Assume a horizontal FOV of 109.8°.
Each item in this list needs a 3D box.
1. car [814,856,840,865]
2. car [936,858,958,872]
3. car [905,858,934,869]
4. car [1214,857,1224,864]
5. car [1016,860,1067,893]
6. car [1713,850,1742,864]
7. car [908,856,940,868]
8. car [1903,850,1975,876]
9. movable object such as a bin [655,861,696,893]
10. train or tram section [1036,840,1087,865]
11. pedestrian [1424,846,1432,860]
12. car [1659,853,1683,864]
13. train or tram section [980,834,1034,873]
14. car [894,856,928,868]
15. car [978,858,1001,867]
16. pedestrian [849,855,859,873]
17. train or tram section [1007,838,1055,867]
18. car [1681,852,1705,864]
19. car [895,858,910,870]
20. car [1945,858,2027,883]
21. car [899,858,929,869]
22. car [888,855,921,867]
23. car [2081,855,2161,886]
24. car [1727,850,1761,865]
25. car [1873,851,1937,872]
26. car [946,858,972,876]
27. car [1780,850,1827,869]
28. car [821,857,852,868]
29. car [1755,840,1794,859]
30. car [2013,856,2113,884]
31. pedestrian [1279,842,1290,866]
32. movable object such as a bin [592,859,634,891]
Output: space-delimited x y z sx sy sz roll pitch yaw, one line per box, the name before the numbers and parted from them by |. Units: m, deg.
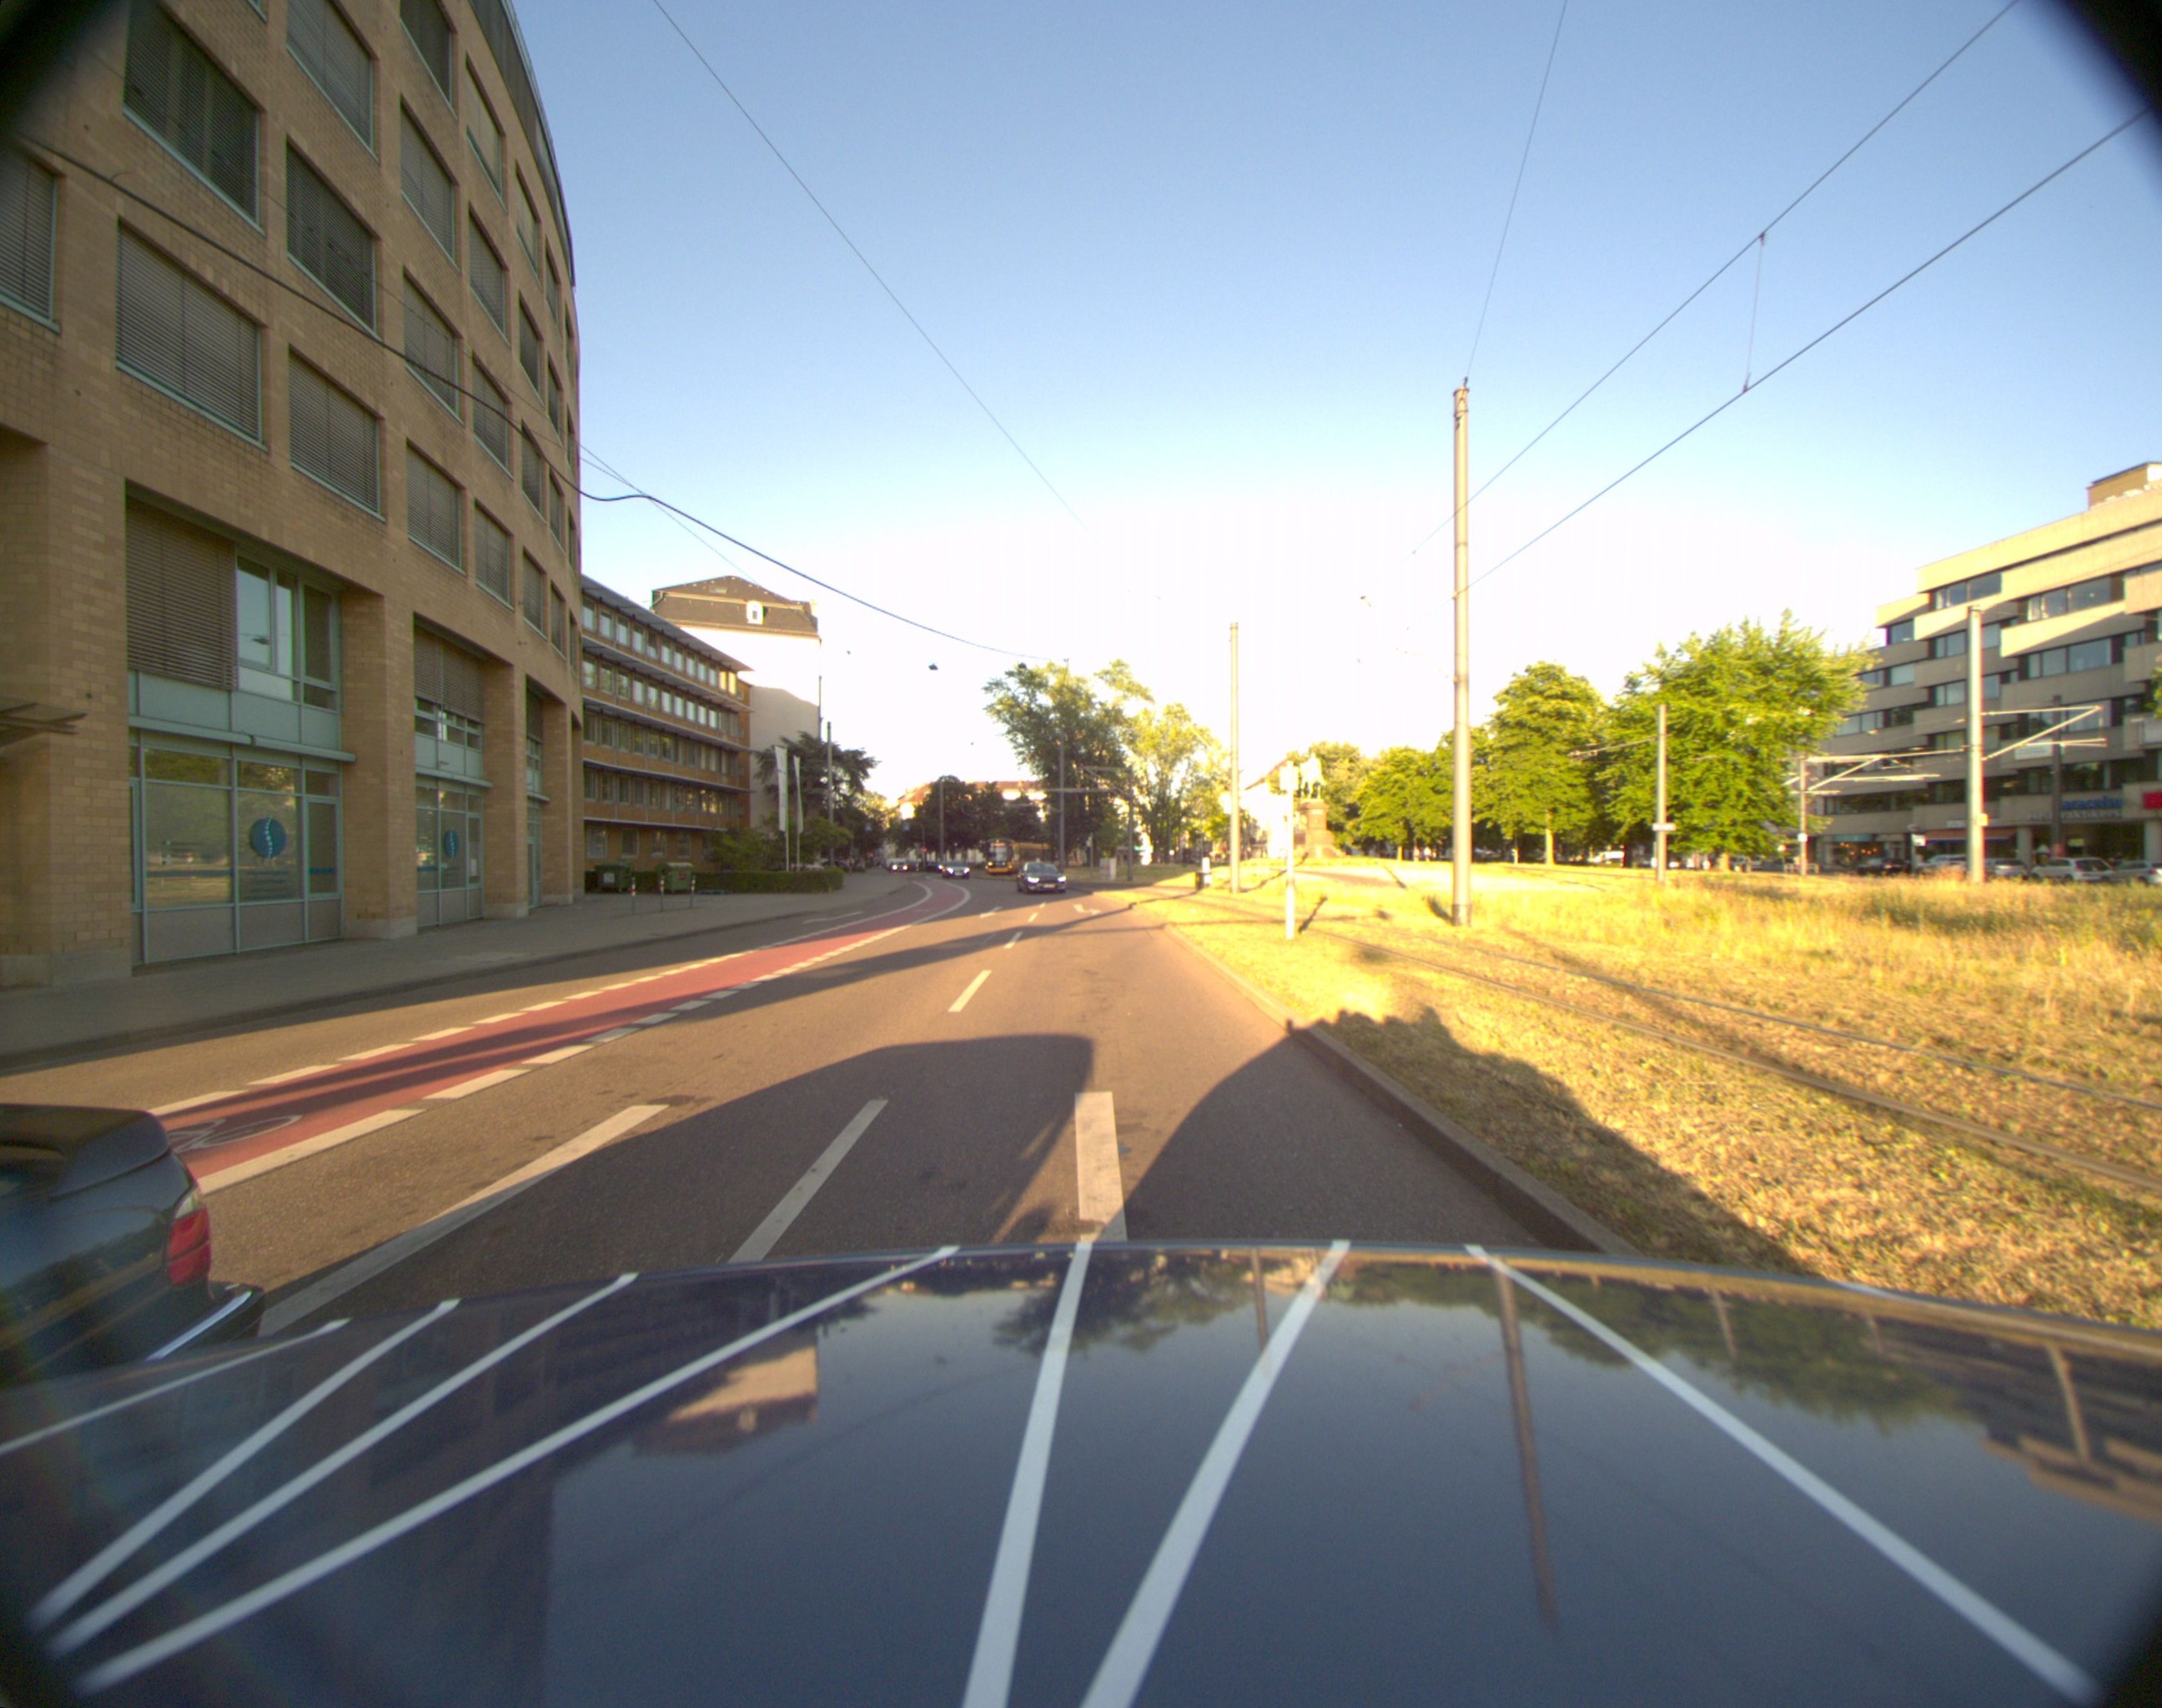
car | -45.543 1.131 136.146 4.404 1.603 1.726 0 -1 -23
car | -14.836 1.206 84.079 1.823 1.473 4.129 0 -1 -19
car | -24.300 1.430 114.314 4.067 1.608 1.999 0 -1 -6
car | 32.992 1.544 181.457 1.801 1.542 3.968 0 -1 1
car | -1.939 1.055 36.432 1.822 1.473 4.132 0 -1 -12
car | 78.528 0.364 92.323 1.793 1.570 4.008 -1 -1 27
car | -21.429 1.096 103.674 4.067 1.547 1.865 0 -1 -6
car | 61.461 0.693 54.494 1.755 1.784 4.217 -1 -1 23
movable object such as a bin | -18.246 1.036 34.209 0.972 1.429 1.347 0 -1 19
train or tram section | -2.399 -0.282 101.549 2.920 3.123 12.661 -1 0 17
pedestrian | 37.635 -0.091 82.518 0.619 1.571 0.553 0 -1 2
car | 81.239 0.607 104.603 1.707 1.382 4.008 -1 -1 24
train or tram section | -7.214 -0.059 76.345 2.947 3.563 13.371 -1 0 5
car | -28.244 1.330 126.257 5.078 1.891 2.122 0 -1 2
car | -16.676 1.569 139.166 4.011 1.714 1.701 0 -1 -1
pedestrian | -22.362 0.989 74.848 0.591 1.781 0.822 0 -1 11
train or tram section | -5.657 -0.196 89.251 2.928 3.123 12.865 -1 0 9
car | 83.516 0.516 103.719 1.793 1.570 4.008 -1 -1 27
car | -22.932 1.315 97.494 1.822 1.473 4.131 -1 -1 -14
car | 58.567 1.050 49.280 1.755 1.542 4.007 -1 -1 23
car | -24.528 1.409 111.758 4.067 1.542 1.999 0 -1 -6
car | -29.943 1.173 128.941 5.078 2.010 1.968 0 -1 2
car | 54.119 0.843 38.998 1.755 1.542 4.008 -1 -1 26
car | 76.167 0.383 87.286 1.755 1.653 4.007 -1 -1 23
car | 64.275 0.618 59.360 1.861 1.547 4.076 -1 -1 23
car | -10.222 1.065 63.321 1.822 1.473 4.131 0 -1 -13
car | 70.156 0.540 73.891 1.935 1.784 4.217 -1 -1 23
car | -33.986 1.204 105.674 4.072 1.560 1.835 0 -1 -19
car | 72.867 -0.459 79.879 1.755 1.932 4.217 -1 -1 23
car | 56.300 0.937 43.676 1.755 1.542 4.007 -1 -1 23
pedestrian | 14.769 -0.009 55.183 0.476 1.680 0.835 0 0 -14
movable object such as a bin | -21.229 0.961 34.507 1.345 1.415 0.923 0 -1 -7
